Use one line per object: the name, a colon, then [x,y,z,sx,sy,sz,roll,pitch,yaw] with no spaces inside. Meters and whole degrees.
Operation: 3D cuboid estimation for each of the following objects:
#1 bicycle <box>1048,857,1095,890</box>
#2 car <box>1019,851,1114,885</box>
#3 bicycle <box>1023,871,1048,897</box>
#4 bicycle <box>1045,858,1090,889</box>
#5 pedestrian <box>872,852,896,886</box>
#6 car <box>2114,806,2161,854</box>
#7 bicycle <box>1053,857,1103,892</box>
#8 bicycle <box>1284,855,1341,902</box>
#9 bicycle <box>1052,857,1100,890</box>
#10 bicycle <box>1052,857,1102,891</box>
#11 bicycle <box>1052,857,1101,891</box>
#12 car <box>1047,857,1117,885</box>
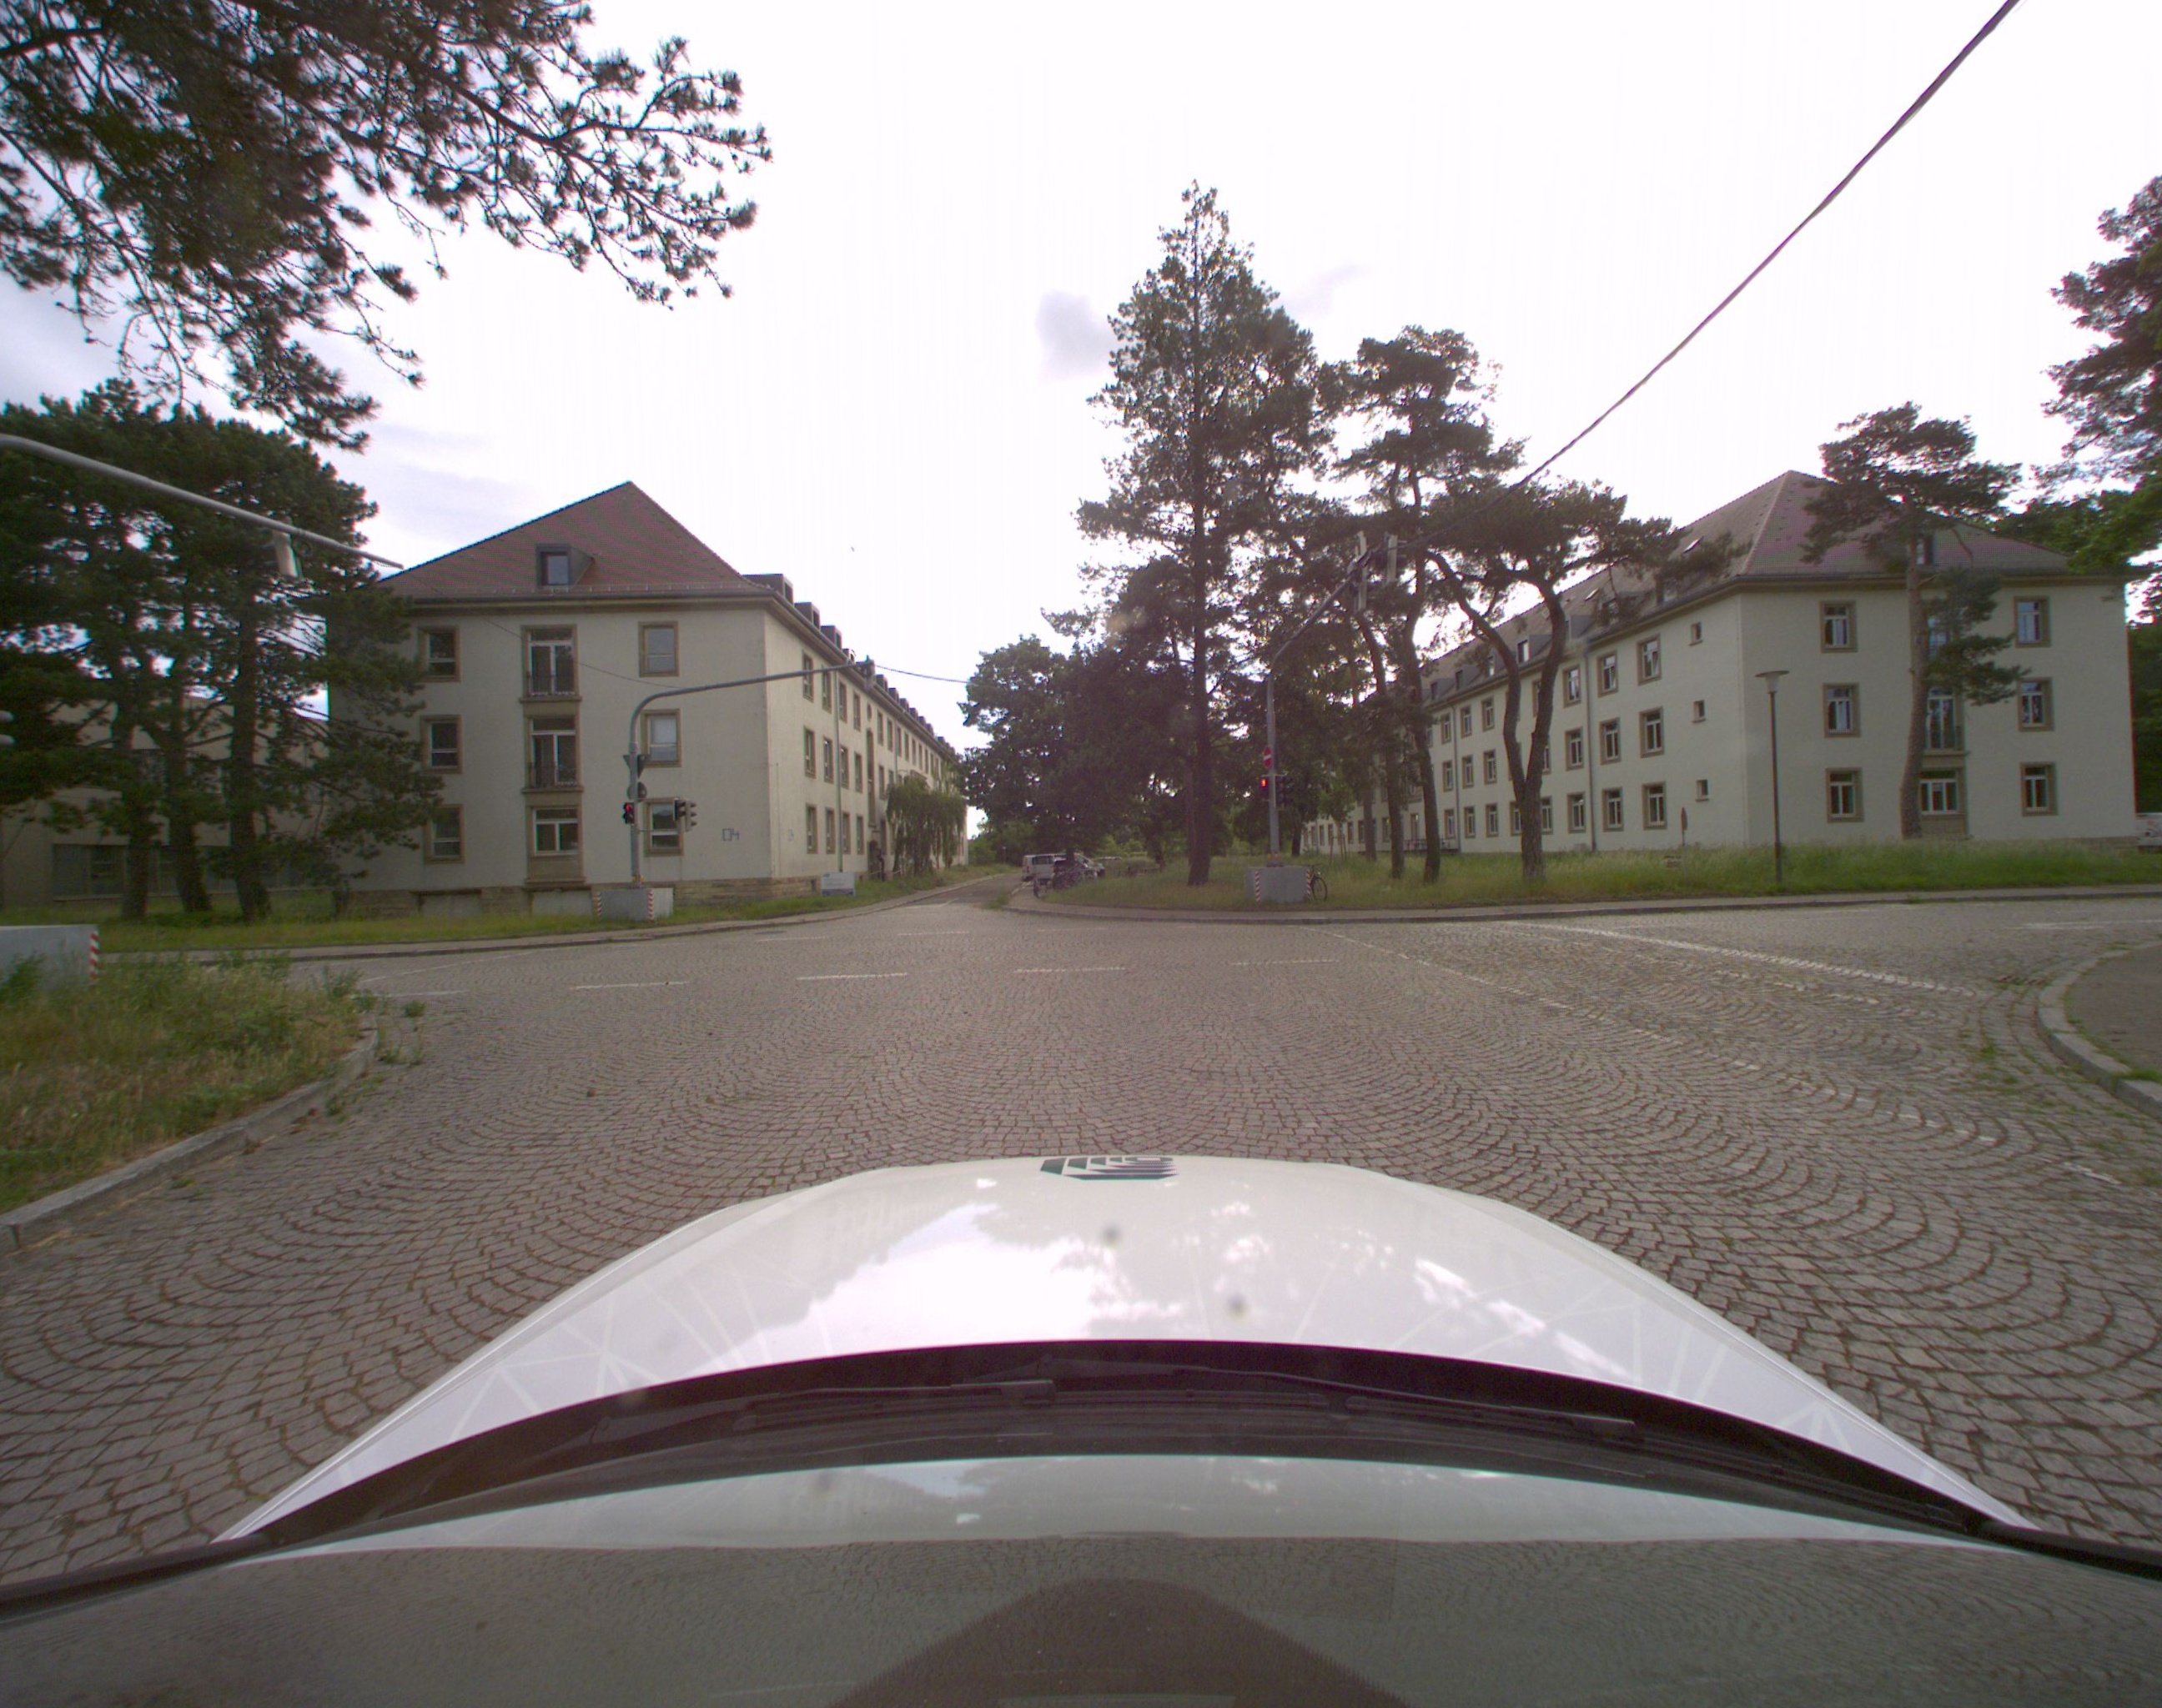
bicycle: [-0.446,0.880,36.833,2.063,1.378,0.620,-2,-1,-1]
car: [-0.934,0.891,51.817,5.699,1.910,2.219,-2,0,-14]
bicycle: [-1.773,1.162,32.106,0.615,0.963,2.080,-2,0,6]
bicycle: [-0.611,0.900,38.313,2.063,1.378,0.620,-2,-1,-1]
pedestrian: [-11.859,0.893,49.111,1.082,2.014,1.023,-2,-1,4]
car: [54.702,-1.247,39.962,5.164,2.288,2.213,-2,0,0]
bicycle: [-0.125,0.845,33.951,2.063,1.378,0.620,-2,-1,-1]
bicycle: [6.176,0.642,21.861,0.906,1.177,1.873,-2,0,-2]
bicycle: [-0.204,0.871,36.041,2.063,1.378,0.620,-2,-1,-1]
bicycle: [-0.182,0.853,34.620,2.063,1.378,0.620,-2,-1,-1]
bicycle: [-0.197,0.861,35.245,2.063,1.378,0.620,-2,-1,-1]
car: [0.026,0.989,48.473,3.927,1.544,1.996,-2,0,-6]
